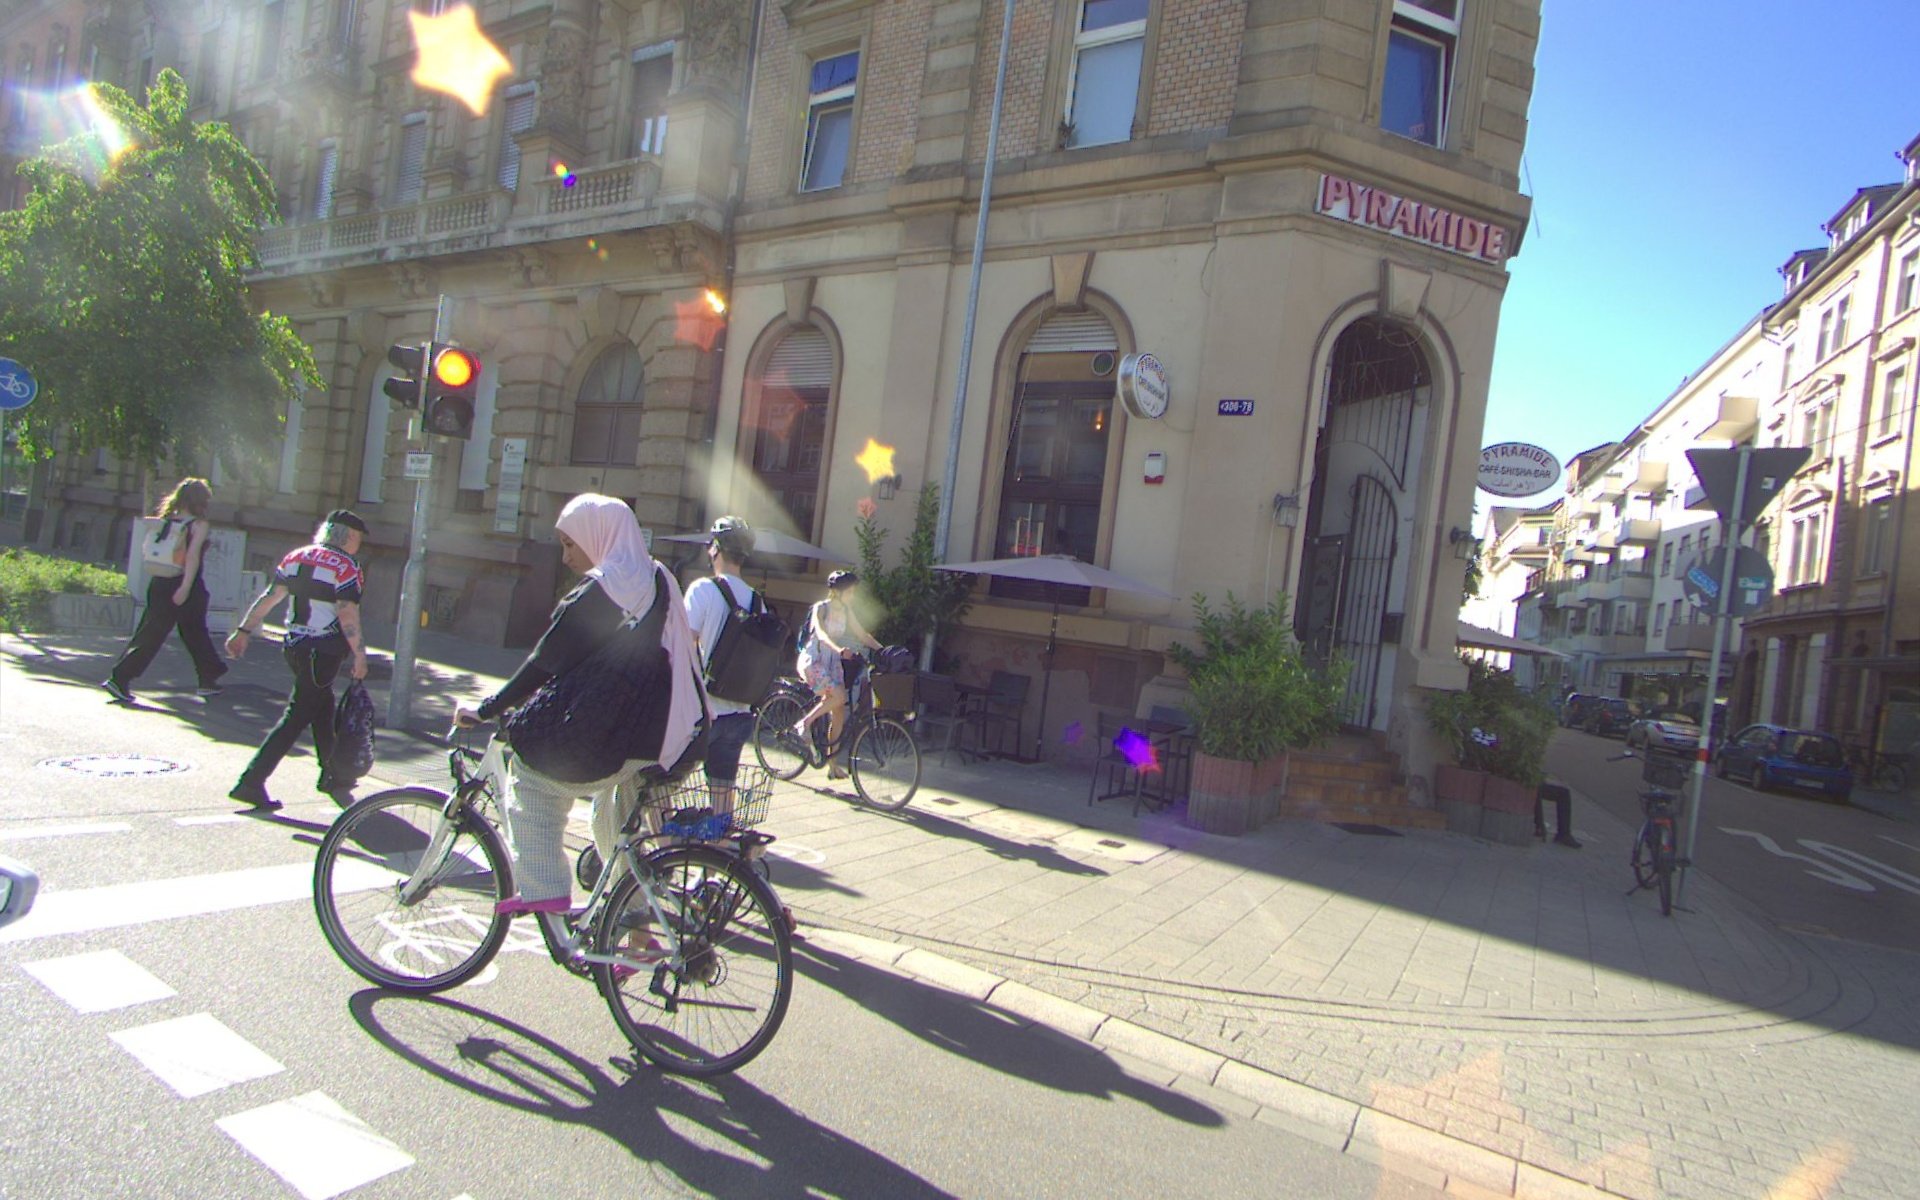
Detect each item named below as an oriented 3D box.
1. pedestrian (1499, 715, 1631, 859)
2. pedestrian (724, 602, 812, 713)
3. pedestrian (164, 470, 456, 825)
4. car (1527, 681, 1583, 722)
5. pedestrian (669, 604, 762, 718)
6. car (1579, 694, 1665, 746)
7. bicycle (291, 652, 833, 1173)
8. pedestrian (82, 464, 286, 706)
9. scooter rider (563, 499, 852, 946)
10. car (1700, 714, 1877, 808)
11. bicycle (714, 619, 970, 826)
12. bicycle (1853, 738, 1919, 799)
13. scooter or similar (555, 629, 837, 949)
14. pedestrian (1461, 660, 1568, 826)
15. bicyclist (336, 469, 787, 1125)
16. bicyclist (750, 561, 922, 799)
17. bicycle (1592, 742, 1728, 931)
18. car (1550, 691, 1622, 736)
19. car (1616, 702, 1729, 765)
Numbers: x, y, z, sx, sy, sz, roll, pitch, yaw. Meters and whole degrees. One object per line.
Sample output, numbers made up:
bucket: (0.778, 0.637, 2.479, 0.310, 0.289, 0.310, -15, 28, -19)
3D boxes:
pedestrian: (6.090, 1.850, 10.187, 0.917, 1.228, 0.852, 7, -1, 25)
pedestrian: (-2.329, 0.691, 12.229, 0.624, 1.252, 0.706, 7, 2, 31)
pedestrian: (-3.745, 0.259, 5.836, 0.953, 1.809, 0.867, 7, -1, 25)
car: (30.114, 5.108, 51.016, 1.769, 1.685, 3.772, 7, -1, 23)
pedestrian: (-2.784, 0.691, 11.476, 0.624, 1.193, 0.706, 7, 2, 31)
car: (24.068, 4.312, 36.712, 1.769, 1.449, 3.773, 7, -1, 22)
bicycle: (-1.351, 0.851, 3.270, 1.762, 1.105, 0.558, 7, -2, 31)
pedestrian: (-6.705, -0.100, 8.736, 0.642, 1.932, 1.078, 7, 0, 25)
scooter rider: (-1.199, 0.536, 4.819, 0.886, 1.882, 0.668, 7, -1, 31)
car: (18.502, 3.533, 22.713, 1.769, 1.437, 4.000, 9, 0, 22)
bicycle: (-0.940, 0.887, 7.745, 1.868, 1.238, 0.584, 7, 0, 31)
bicycle: (22.197, 3.984, 23.574, 0.621, 1.192, 2.014, 7, 0, 1)
scooter or similar: (-1.272, 0.843, 4.809, 1.151, 1.240, 0.492, 7, -2, 31)
pedestrian: (6.594, 1.678, 12.015, 0.852, 1.781, 0.909, 7, -1, 25)
bicyclist: (-1.254, 0.536, 3.243, 0.854, 1.731, 0.781, 7, -2, 31)
bicyclist: (-0.961, 0.595, 7.824, 0.944, 1.659, 0.667, 7, 1, 31)
bicycle: (5.695, 1.842, 8.207, 0.643, 1.186, 1.818, 11, 2, 35)
car: (25.849, 4.651, 41.657, 1.769, 1.449, 3.773, 7, -1, 22)
car: (21.828, 4.034, 30.985, 1.769, 1.350, 4.000, 9, 0, 22)
